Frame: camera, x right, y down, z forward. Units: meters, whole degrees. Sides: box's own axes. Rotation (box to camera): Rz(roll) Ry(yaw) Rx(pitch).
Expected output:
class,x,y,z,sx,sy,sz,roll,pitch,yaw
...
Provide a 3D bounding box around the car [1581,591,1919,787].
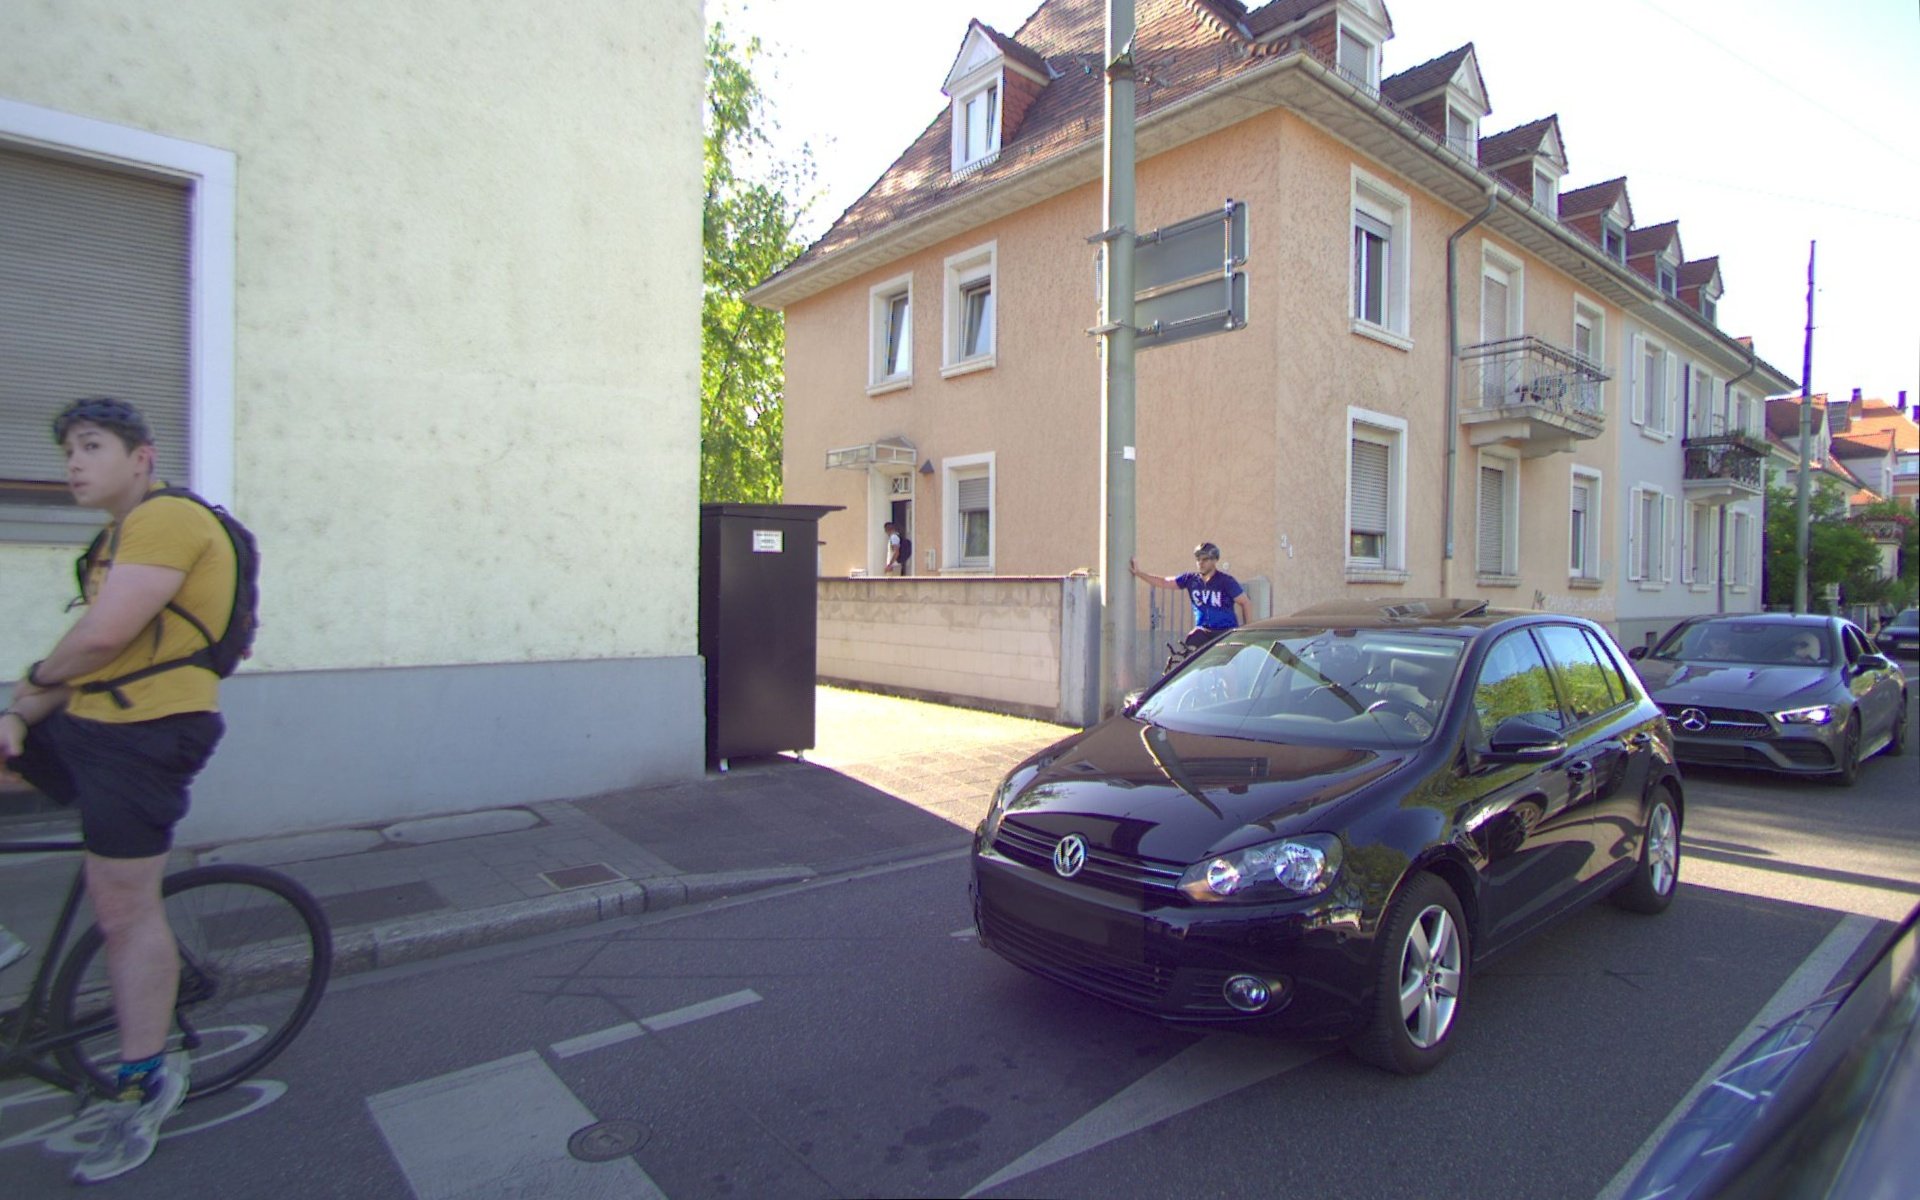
class,x,y,z,sx,sy,sz,roll,pitch,yaw
car,7.753,0.684,9.670,4.410,1.449,1.824,1,0,-40

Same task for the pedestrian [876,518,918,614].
class,x,y,z,sx,sy,sz,roll,pitch,yaw
pedestrian,-1.130,-0.623,18.078,0.598,1.624,0.763,3,5,-8

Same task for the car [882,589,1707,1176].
class,x,y,z,sx,sy,sz,roll,pitch,yaw
car,1.739,0.689,4.479,3.921,1.456,1.716,-1,0,-41

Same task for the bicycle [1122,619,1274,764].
class,x,y,z,sx,sy,sz,roll,pitch,yaw
bicycle,2.140,0.758,8.984,0.554,1.088,1.601,6,4,42

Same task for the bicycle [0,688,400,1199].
class,x,y,z,sx,sy,sz,roll,pitch,yaw
bicycle,-2.499,0.869,2.573,0.777,1.120,1.720,0,0,36

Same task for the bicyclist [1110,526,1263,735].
class,x,y,z,sx,sy,sz,roll,pitch,yaw
bicyclist,2.023,0.233,9.088,1.018,1.714,0.718,6,4,42

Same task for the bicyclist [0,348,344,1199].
class,x,y,z,sx,sy,sz,roll,pitch,yaw
bicyclist,-2.289,0.424,2.787,0.777,1.991,0.768,0,0,36

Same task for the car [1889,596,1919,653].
class,x,y,z,sx,sy,sz,roll,pitch,yaw
car,26.768,0.629,27.436,4.258,1.448,1.824,-1,0,-40
